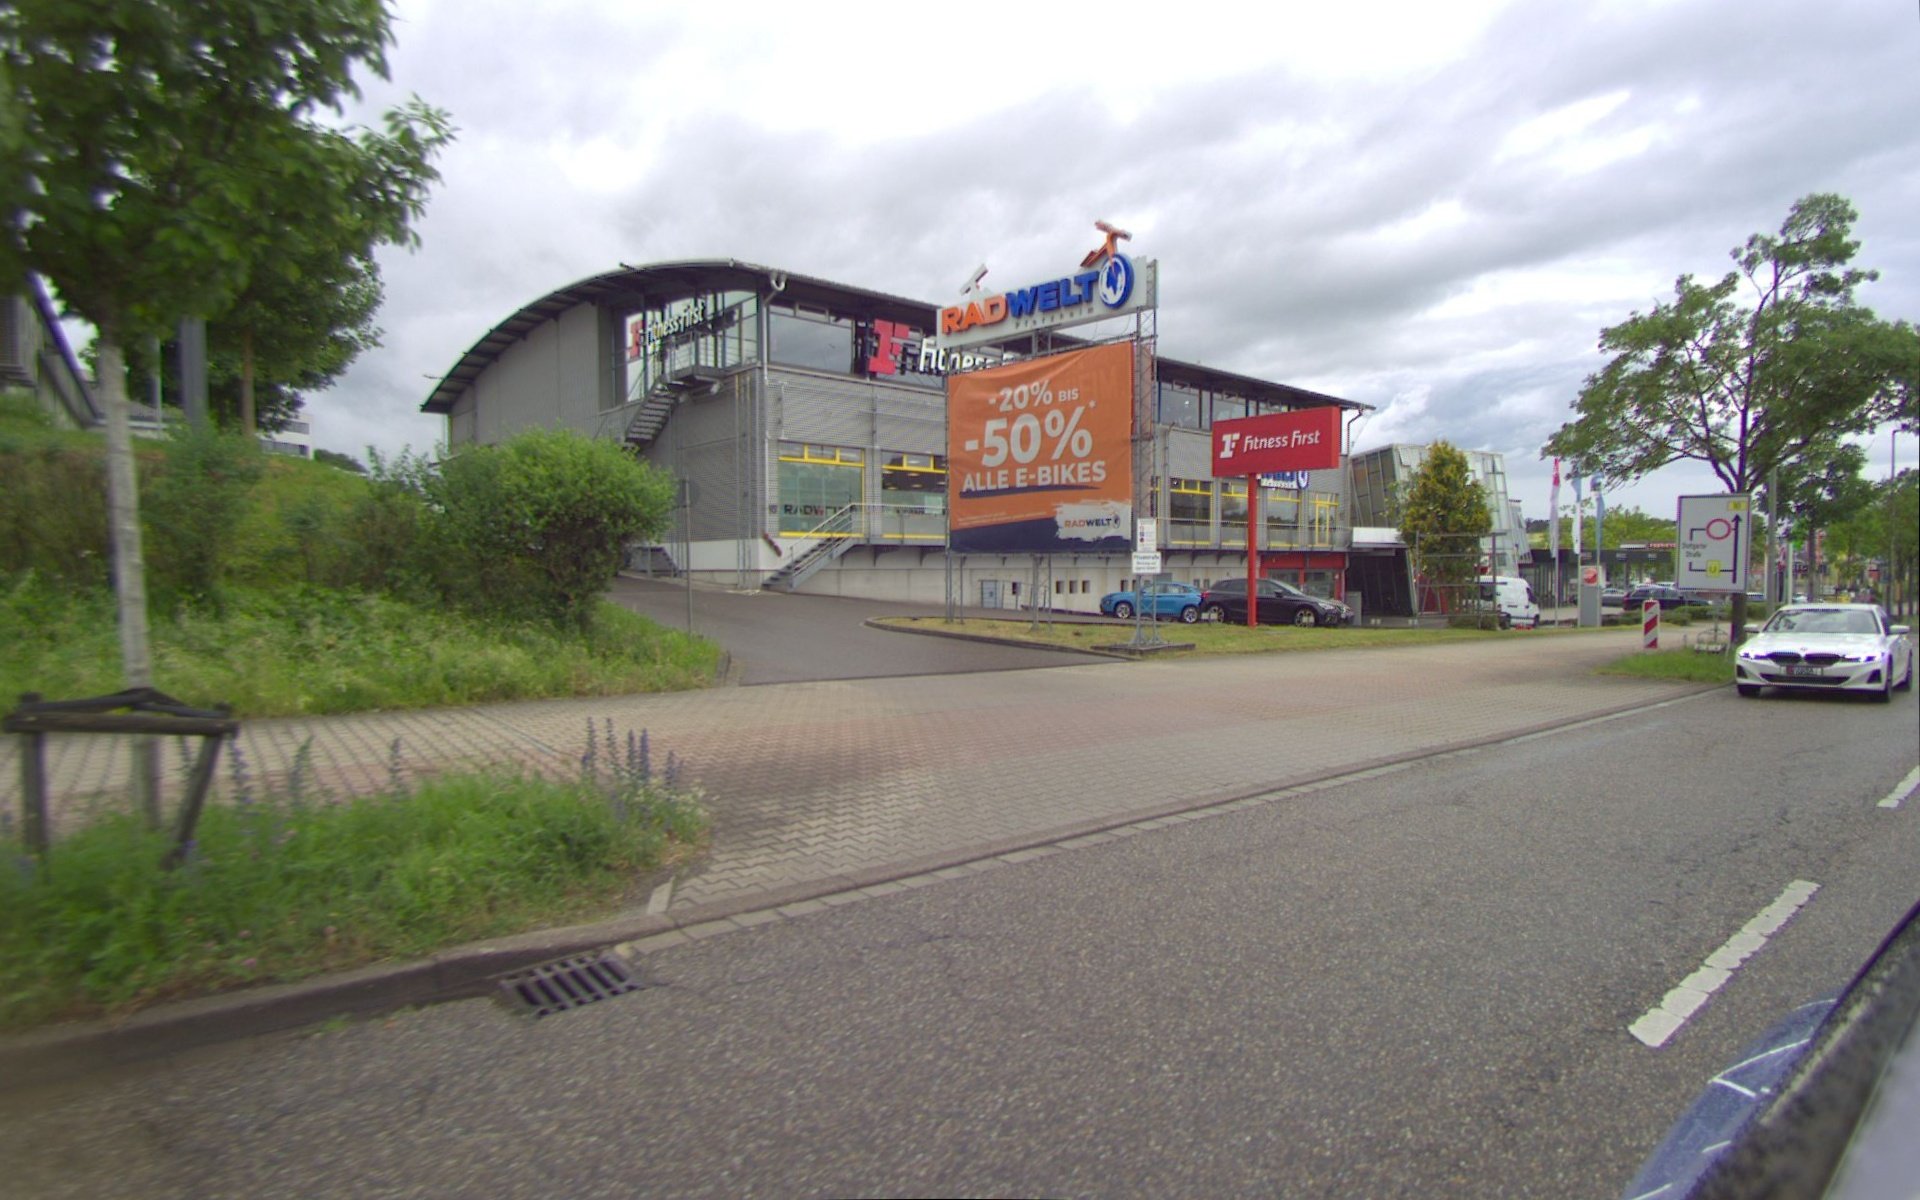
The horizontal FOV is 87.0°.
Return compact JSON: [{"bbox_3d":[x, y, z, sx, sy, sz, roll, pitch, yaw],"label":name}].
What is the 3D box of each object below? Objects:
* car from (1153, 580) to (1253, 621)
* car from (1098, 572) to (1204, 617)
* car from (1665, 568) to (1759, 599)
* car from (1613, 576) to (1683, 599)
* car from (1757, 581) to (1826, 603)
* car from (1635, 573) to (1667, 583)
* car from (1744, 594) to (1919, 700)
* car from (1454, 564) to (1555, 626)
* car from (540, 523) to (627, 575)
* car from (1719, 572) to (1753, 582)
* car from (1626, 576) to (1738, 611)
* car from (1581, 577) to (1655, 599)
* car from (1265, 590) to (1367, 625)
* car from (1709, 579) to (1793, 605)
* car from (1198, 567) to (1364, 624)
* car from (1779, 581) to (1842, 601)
[{"bbox_3d":[10.012,0.032,41.943,3.809,1.521,1.735,2,-1,8],"label":"car"},{"bbox_3d":[7.359,-0.188,39.332,3.843,1.579,1.736,2,-1,6],"label":"car"},{"bbox_3d":[45.371,-0.999,61.127,1.768,1.620,4.181,0,4,-39],"label":"car"},{"bbox_3d":[58.626,-1.082,86.293,4.425,1.701,1.797,3,4,10],"label":"car"},{"bbox_3d":[70.525,-0.696,85.865,4.109,1.598,1.740,3,3,9],"label":"car"},{"bbox_3d":[116.887,-3.727,171.241,1.793,1.601,4.216,0,2,-42],"label":"car"},{"bbox_3d":[14.106,0.648,16.214,4.466,1.459,1.805,0,-1,-44],"label":"car"},{"bbox_3d":[24.841,-0.143,46.053,5.580,2.570,2.231,3,-2,-41],"label":"car"},{"bbox_3d":[-12.898,-1.782,34.527,1.766,1.528,4.003,-1,6,-36],"label":"car"},{"bbox_3d":[123.414,-3.675,160.907,1.769,1.529,3.993,0,2,-42],"label":"car"},{"bbox_3d":[40.342,-0.379,56.664,1.888,1.620,4.677,1,4,-32],"label":"car"},{"bbox_3d":[51.442,-0.931,79.175,4.420,1.412,1.799,3,4,6],"label":"car"},{"bbox_3d":[16.861,0.369,48.073,4.182,1.489,1.782,2,-1,3],"label":"car"},{"bbox_3d":[53.705,-0.549,68.764,1.831,1.490,4.176,0,4,-43],"label":"car"},{"bbox_3d":[8.930,-0.127,28.305,4.078,1.457,1.774,2,-1,36],"label":"car"},{"bbox_3d":[79.062,-0.862,94.090,4.234,1.598,1.744,3,3,2],"label":"car"}]
